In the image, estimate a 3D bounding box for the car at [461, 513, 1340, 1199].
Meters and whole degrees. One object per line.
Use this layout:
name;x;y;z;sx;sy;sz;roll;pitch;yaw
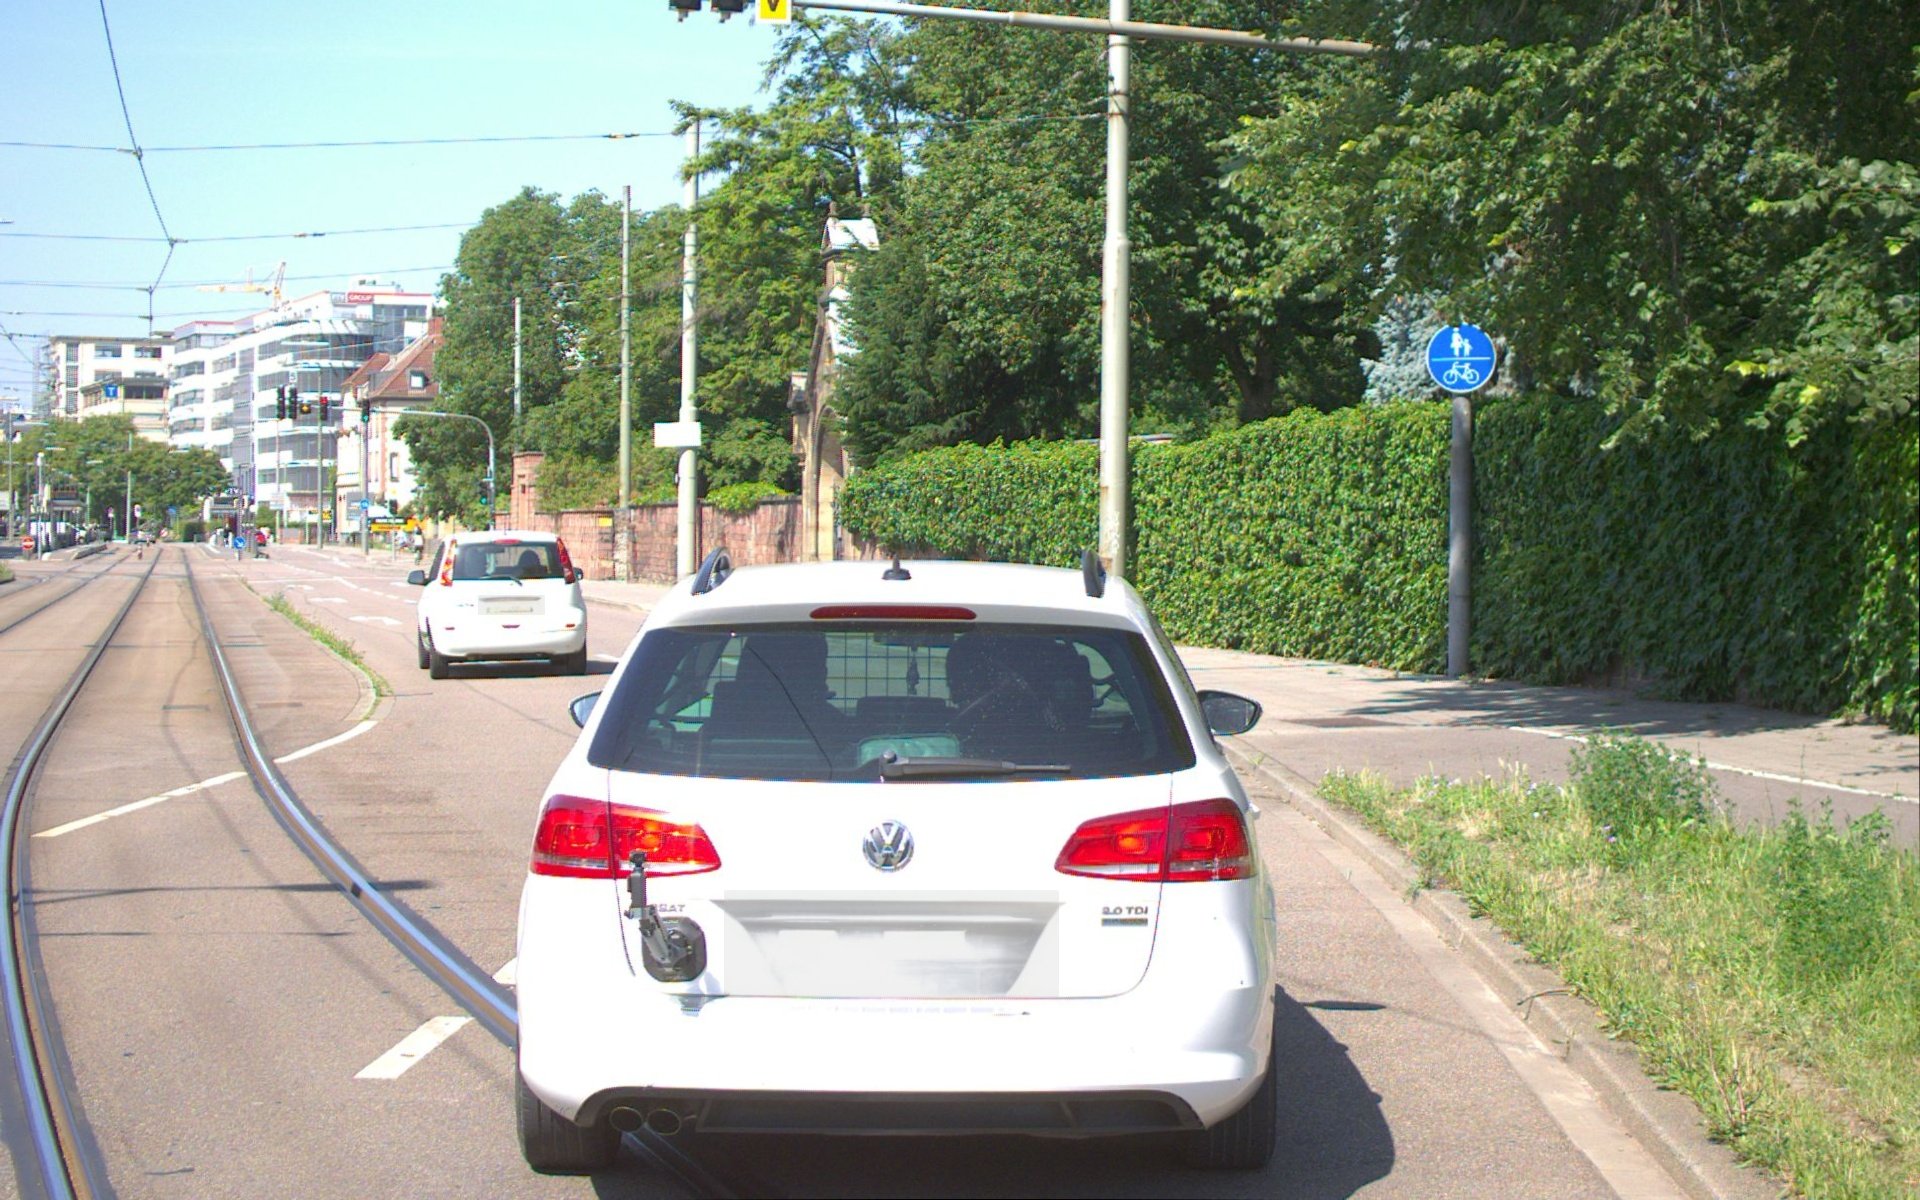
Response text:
car;-0.144;0.533;8.917;1.778;1.485;3.847;0;2;-1

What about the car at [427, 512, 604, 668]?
car;-4.826;-0.151;37.754;1.730;1.590;4.012;0;2;-5
